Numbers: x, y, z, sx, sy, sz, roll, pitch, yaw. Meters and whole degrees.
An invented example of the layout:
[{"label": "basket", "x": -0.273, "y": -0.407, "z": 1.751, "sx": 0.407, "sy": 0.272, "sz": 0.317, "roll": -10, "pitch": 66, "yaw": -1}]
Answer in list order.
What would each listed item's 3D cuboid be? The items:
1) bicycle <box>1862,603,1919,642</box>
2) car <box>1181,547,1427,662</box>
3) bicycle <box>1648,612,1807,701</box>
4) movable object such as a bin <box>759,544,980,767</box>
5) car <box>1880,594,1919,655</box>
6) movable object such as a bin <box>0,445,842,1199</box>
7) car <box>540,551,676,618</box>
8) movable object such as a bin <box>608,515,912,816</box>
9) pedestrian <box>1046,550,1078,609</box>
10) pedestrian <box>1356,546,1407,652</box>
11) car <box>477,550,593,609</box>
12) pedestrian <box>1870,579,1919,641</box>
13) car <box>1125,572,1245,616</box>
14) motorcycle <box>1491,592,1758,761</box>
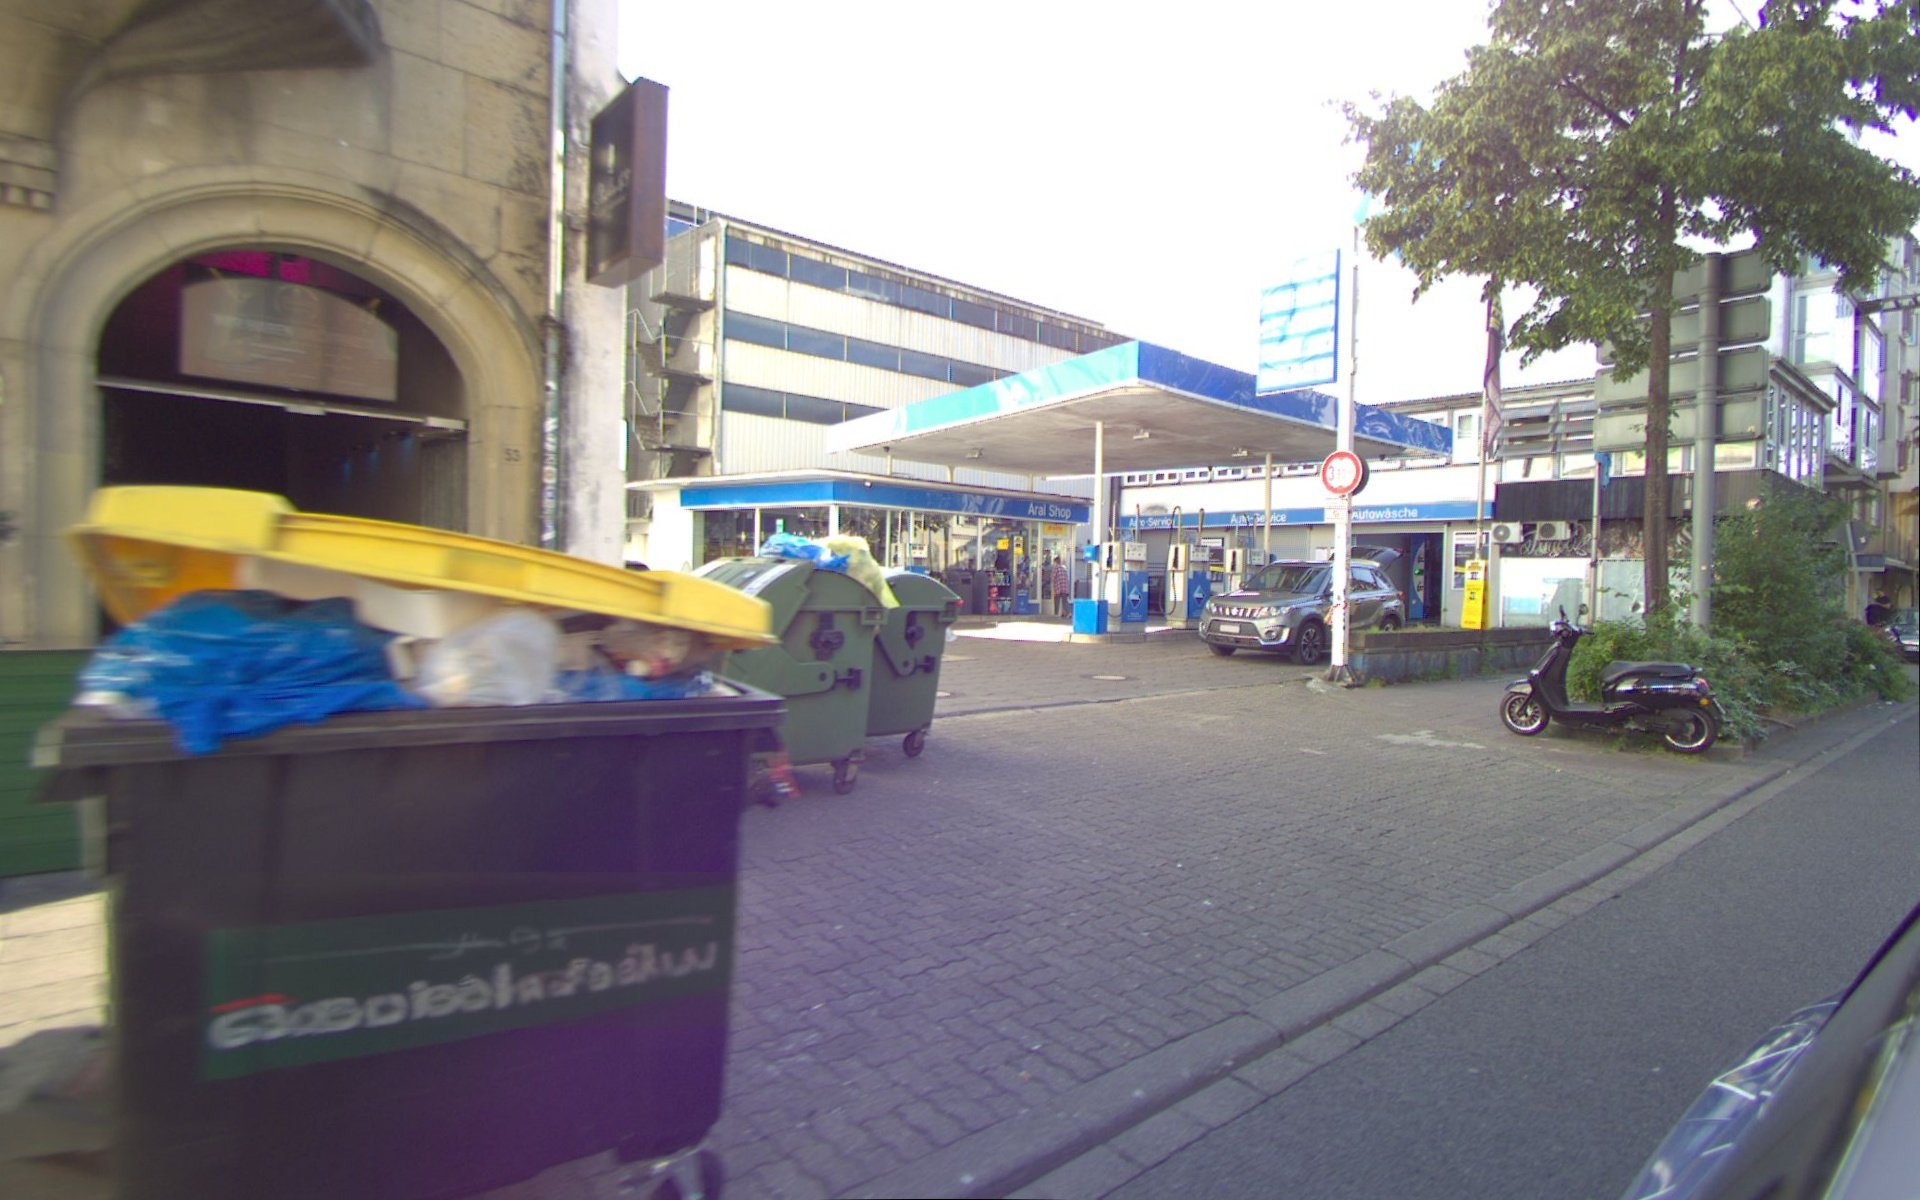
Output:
[{"label": "bicycle", "x": 30.140, "y": 0.704, "z": 32.661, "sx": 0.670, "sy": 1.163, "sz": 1.682, "roll": 2, "pitch": 1, "yaw": 7}, {"label": "car", "x": 5.780, "y": 0.039, "z": 16.775, "sx": 4.216, "sy": 1.668, "sz": 1.905, "roll": 0, "pitch": 2, "yaw": -40}, {"label": "bicycle", "x": 9.302, "y": 0.676, "z": 12.280, "sx": 1.638, "sy": 1.001, "sz": 0.437, "roll": 2, "pitch": 1, "yaw": -6}, {"label": "movable object such as a bin", "x": -0.717, "y": 0.360, "z": 7.904, "sx": 1.156, "sy": 1.549, "sz": 1.273, "roll": 0, "pitch": 2, "yaw": -42}, {"label": "car", "x": 25.116, "y": 0.633, "z": 25.800, "sx": 4.566, "sy": 1.429, "sz": 1.905, "roll": 0, "pitch": 3, "yaw": -41}, {"label": "movable object such as a bin", "x": -1.176, "y": 0.554, "z": 2.235, "sx": 1.431, "sy": 1.581, "sz": 1.147, "roll": 1, "pitch": 2, "yaw": -32}, {"label": "car", "x": -8.748, "y": -0.426, "z": 24.959, "sx": 1.964, "sy": 1.482, "sz": 3.998, "roll": 0, "pitch": 2, "yaw": -38}, {"label": "movable object such as a bin", "x": -1.273, "y": 0.334, "z": 6.475, "sx": 1.472, "sy": 1.648, "sz": 1.207, "roll": 0, "pitch": 2, "yaw": -42}, {"label": "pedestrian", "x": 2.806, "y": -0.573, "z": 27.855, "sx": 0.610, "sy": 1.597, "sz": 0.603, "roll": 3, "pitch": 2, "yaw": 45}, {"label": "pedestrian", "x": 7.683, "y": -0.023, "z": 18.459, "sx": 0.684, "sy": 1.872, "sz": 0.701, "roll": 3, "pitch": 2, "yaw": 33}, {"label": "car", "x": -11.925, "y": -0.602, "z": 28.276, "sx": 1.964, "sy": 1.482, "sz": 3.998, "roll": 0, "pitch": 2, "yaw": -38}, {"label": "pedestrian", "x": 30.671, "y": 0.320, "z": 33.185, "sx": 0.745, "sy": 1.960, "sz": 0.930, "roll": 1, "pitch": 1, "yaw": -16}, {"label": "car", "x": 7.830, "y": -0.241, "z": 35.553, "sx": 1.869, "sy": 1.375, "sz": 4.005, "roll": 1, "pitch": 2, "yaw": -31}, {"label": "motorcycle", "x": 6.168, "y": 0.638, "z": 9.466, "sx": 1.973, "sy": 1.346, "sz": 0.899, "roll": 3, "pitch": 1, "yaw": 38}]
